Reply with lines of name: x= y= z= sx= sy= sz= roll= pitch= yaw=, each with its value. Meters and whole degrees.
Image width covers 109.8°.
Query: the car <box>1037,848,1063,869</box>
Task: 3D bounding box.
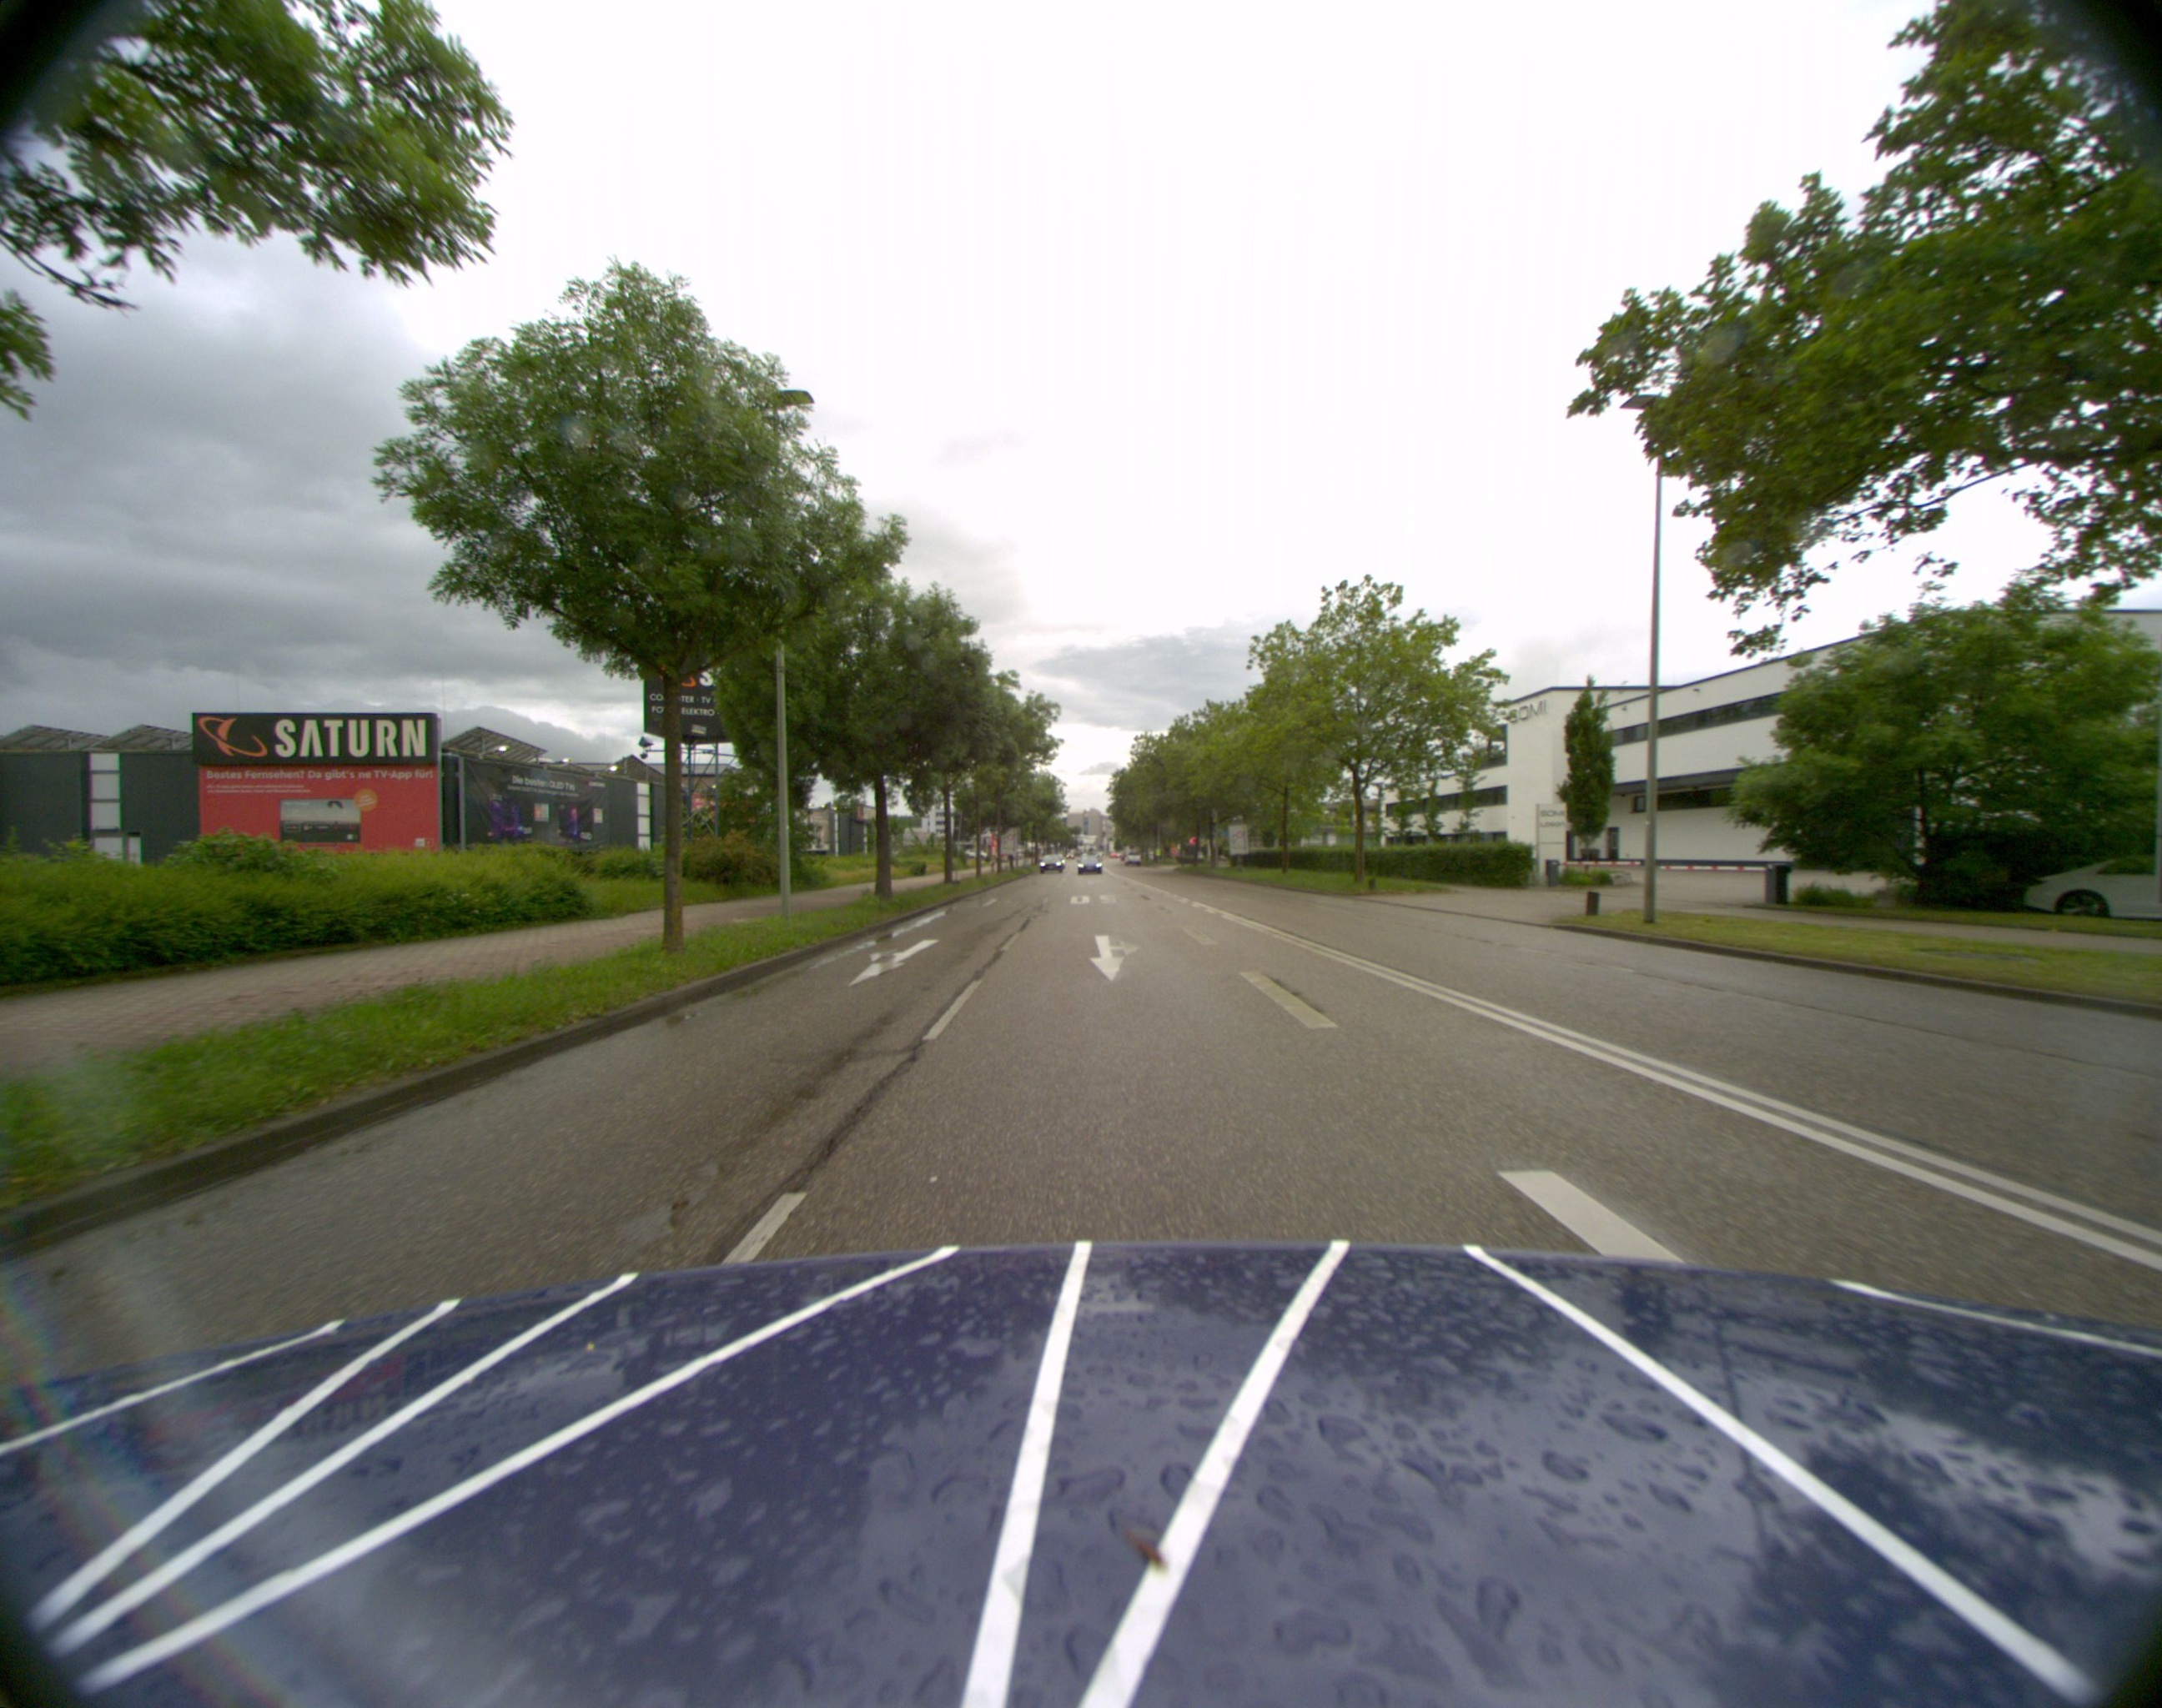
car: x=-2.673 y=0.372 z=66.157 sx=1.998 sy=1.632 sz=4.360 roll=-2 pitch=1 yaw=1

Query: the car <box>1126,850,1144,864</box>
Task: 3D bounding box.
car: x=7.041 y=0.351 z=99.693 sx=1.916 sy=1.795 sz=5.340 roll=1 pitch=0 yaw=-1

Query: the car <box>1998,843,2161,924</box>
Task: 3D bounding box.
car: x=20.862 y=0.530 z=13.764 sx=2.123 sy=1.487 sz=5.246 roll=0 pitch=0 yaw=-1

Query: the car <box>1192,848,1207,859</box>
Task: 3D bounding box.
car: x=17.938 y=-0.057 z=115.210 sx=1.746 sy=1.525 sz=4.000 roll=2 pitch=1 yaw=1

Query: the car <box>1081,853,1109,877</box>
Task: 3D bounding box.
car: x=1.069 y=0.785 z=58.029 sx=1.998 sy=1.632 sz=4.360 roll=-2 pitch=1 yaw=1

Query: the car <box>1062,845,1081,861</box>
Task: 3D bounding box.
car: x=-1.033 y=-0.107 z=83.833 sx=1.998 sy=1.632 sz=4.360 roll=-2 pitch=1 yaw=1

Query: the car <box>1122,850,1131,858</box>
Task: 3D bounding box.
car: x=10.240 y=-0.014 z=171.469 sx=1.746 sy=1.525 sz=4.000 roll=2 pitch=1 yaw=2
